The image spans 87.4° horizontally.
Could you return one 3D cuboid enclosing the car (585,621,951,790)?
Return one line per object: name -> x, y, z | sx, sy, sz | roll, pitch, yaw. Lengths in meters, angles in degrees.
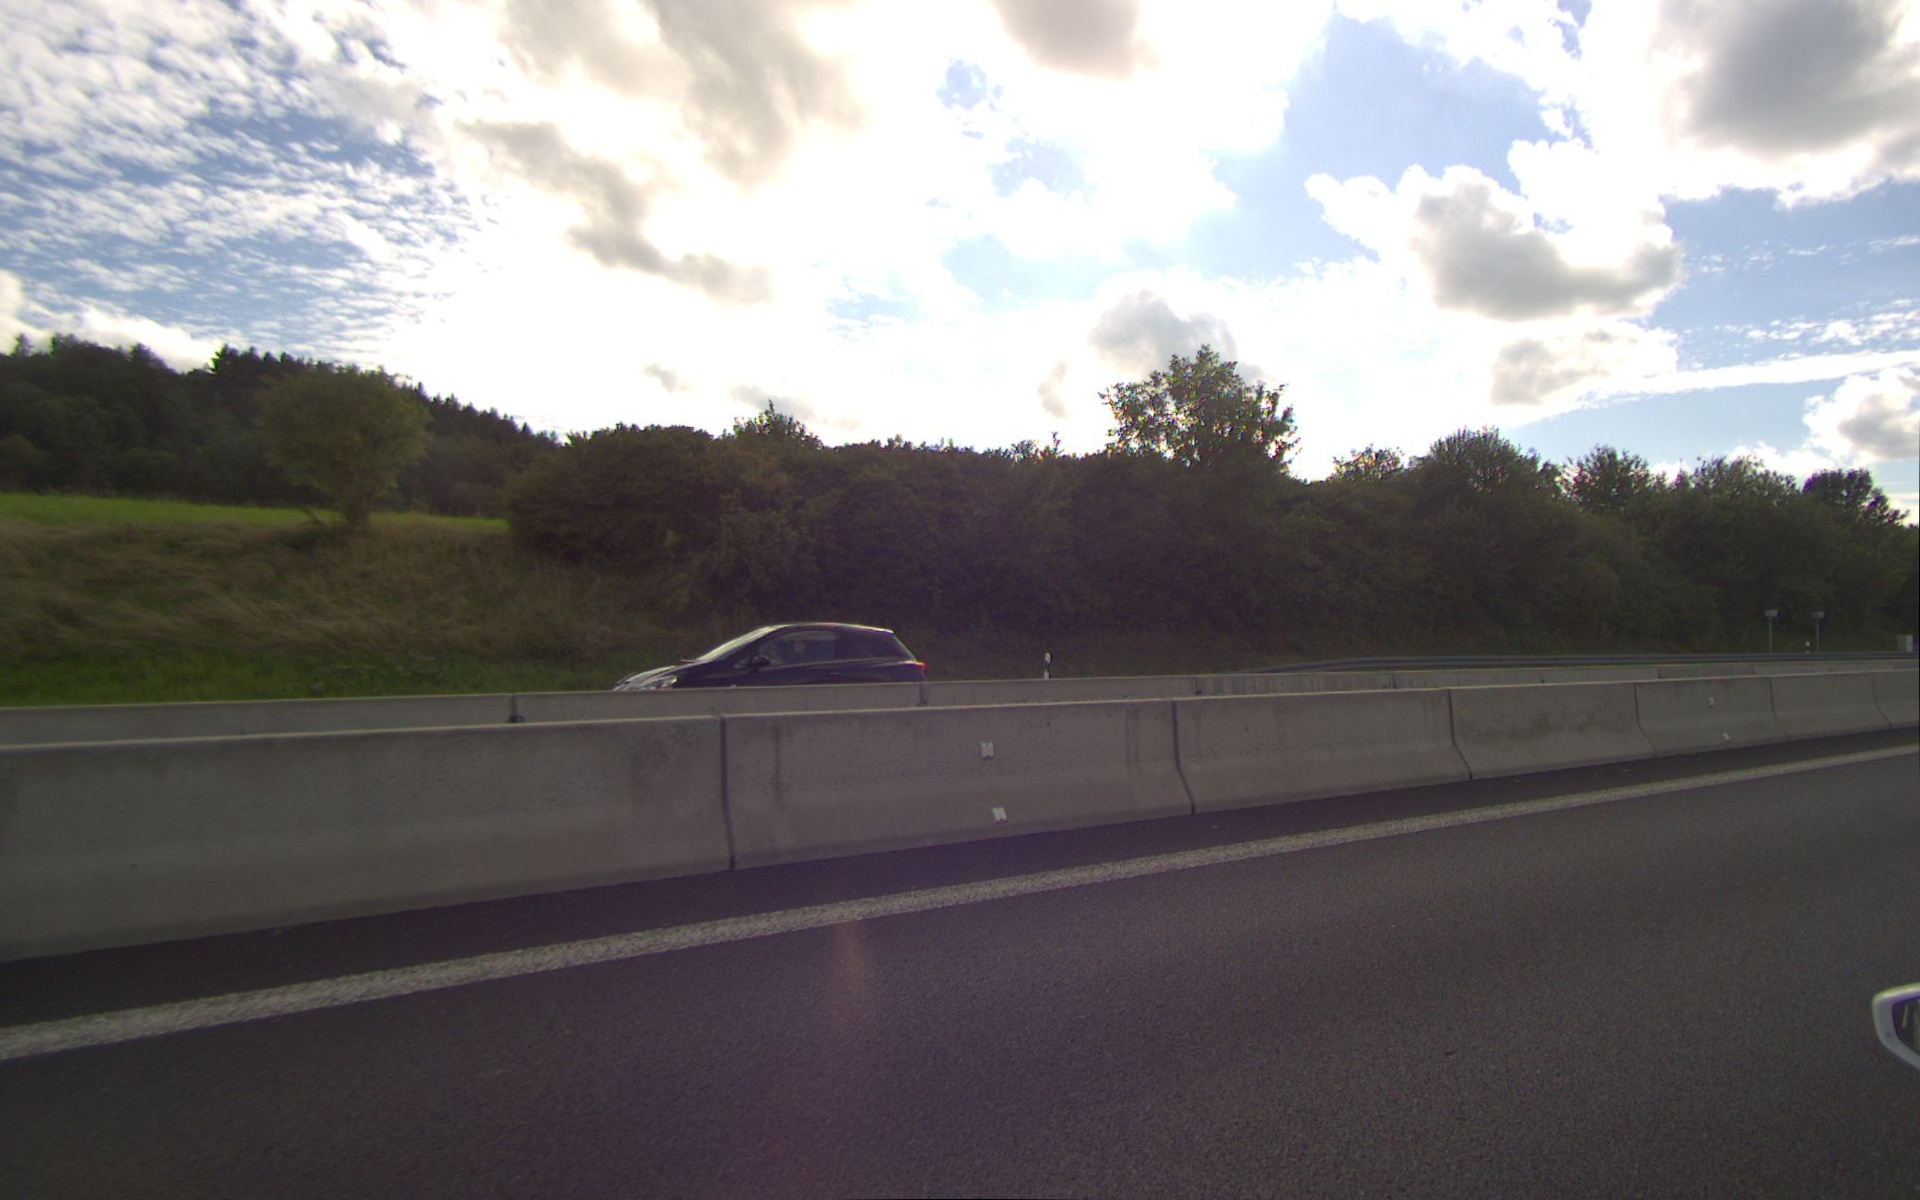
car -> -2.307, 1.168, 12.236 | 3.954, 1.739, 1.984 | 2, -3, -31
